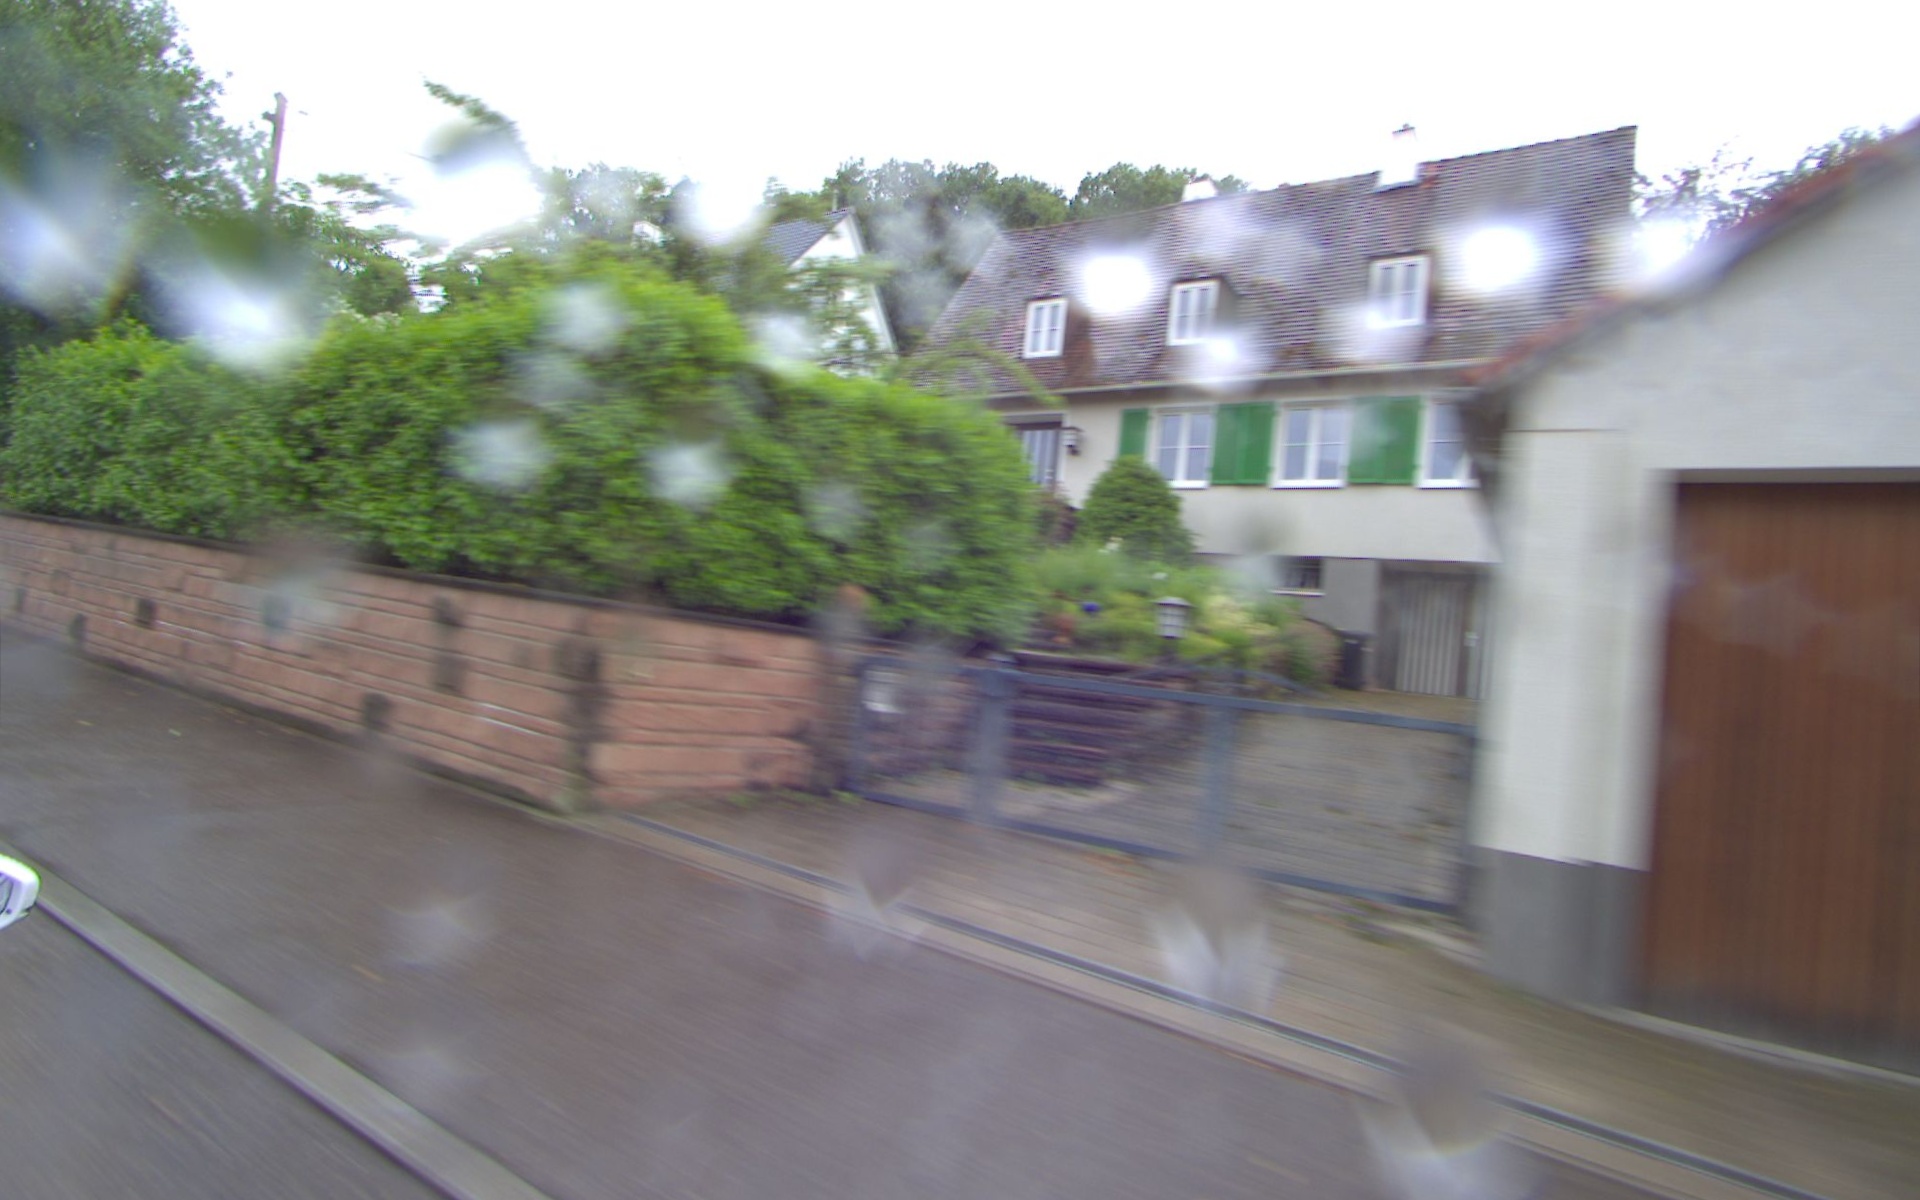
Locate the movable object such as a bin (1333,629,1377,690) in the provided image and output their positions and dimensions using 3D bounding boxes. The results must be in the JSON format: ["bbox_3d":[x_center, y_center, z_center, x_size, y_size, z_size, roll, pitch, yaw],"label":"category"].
[{"bbox_3d":[6.190,0.937,15.754,0.501,0.885,0.677,7,-1,27],"label":"movable object such as a bin"}]
